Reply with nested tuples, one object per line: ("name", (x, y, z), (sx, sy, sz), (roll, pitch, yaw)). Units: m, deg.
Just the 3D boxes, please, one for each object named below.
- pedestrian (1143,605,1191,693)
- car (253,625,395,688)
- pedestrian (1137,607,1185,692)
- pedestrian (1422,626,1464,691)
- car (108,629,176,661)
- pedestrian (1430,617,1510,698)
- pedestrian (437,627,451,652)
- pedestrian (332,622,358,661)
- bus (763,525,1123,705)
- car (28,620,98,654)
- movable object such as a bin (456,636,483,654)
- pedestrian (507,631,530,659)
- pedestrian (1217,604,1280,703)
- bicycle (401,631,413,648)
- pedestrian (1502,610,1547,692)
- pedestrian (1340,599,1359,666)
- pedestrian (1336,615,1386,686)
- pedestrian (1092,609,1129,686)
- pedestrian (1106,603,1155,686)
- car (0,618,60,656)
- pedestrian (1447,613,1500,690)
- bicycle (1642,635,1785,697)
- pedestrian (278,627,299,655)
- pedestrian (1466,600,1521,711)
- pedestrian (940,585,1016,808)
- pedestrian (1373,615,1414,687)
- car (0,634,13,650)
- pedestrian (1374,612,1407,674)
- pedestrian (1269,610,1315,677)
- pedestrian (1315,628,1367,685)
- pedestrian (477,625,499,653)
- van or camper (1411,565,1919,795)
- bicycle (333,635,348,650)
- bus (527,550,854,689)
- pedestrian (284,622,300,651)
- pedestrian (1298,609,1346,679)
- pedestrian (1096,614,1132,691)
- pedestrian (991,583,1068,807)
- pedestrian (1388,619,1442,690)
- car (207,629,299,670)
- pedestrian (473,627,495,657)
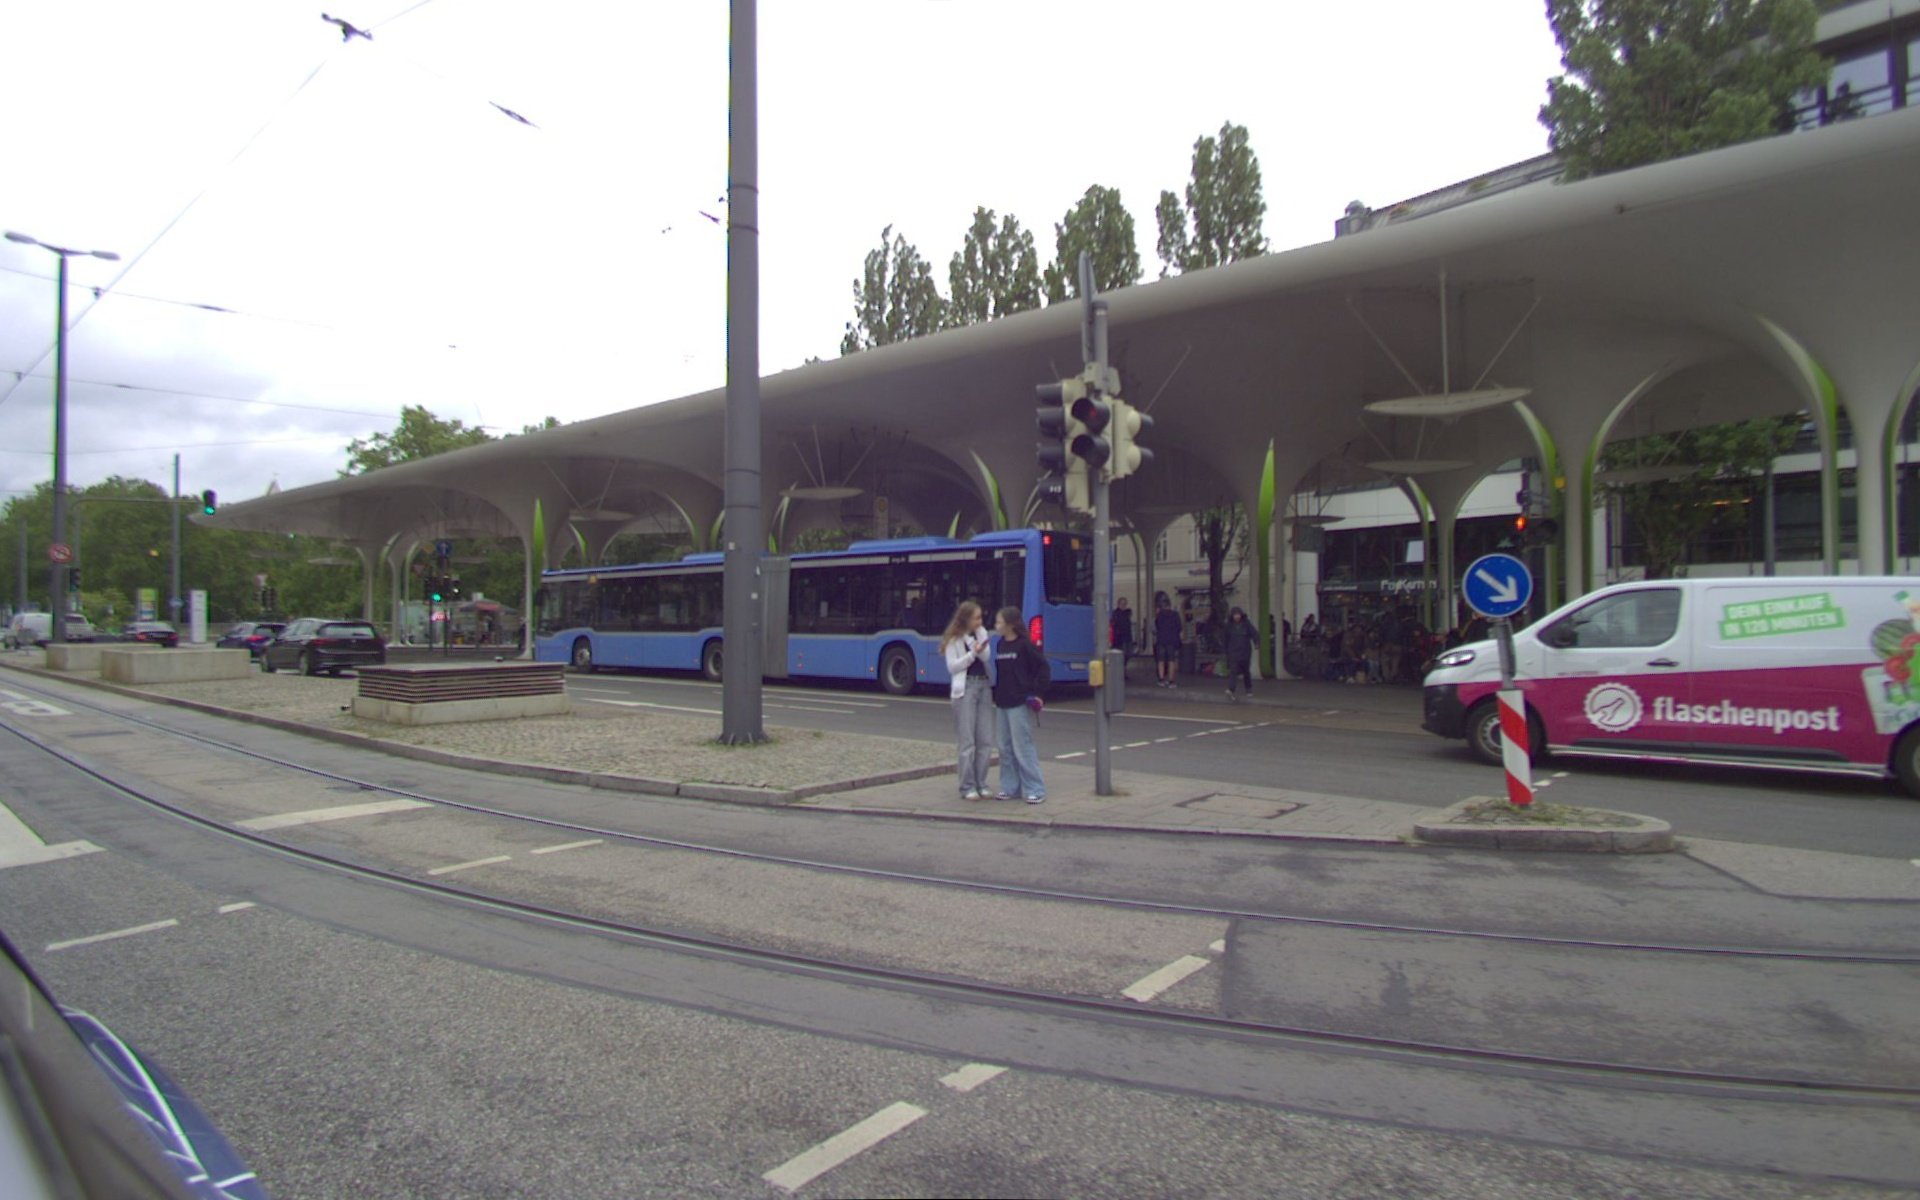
("pedestrian", (4.058, 0.943, 19.837), (0.746, 1.687, 0.624), (-1, -1, 33))
("car", (-15.923, 1.352, 25.277), (4.031, 1.427, 1.824), (-1, -2, 40))
("pedestrian", (4.162, 1.010, 20.984), (0.693, 1.724, 0.759), (0, -2, -13))
("pedestrian", (9.538, 1.148, 20.003), (0.612, 1.245, 0.532), (-2, -2, 41))
("car", (-39.248, 2.123, 48.534), (4.609, 1.389, 1.656), (-1, 0, 40))
("pedestrian", (9.518, 1.059, 18.914), (1.009, 1.464, 0.855), (0, -2, -5))
("pedestrian", (-34.434, 2.639, 67.589), (0.728, 1.612, 0.799), (1, -2, -34))
("pedestrian", (-29.290, 1.982, 48.201), (0.802, 1.853, 0.663), (-1, -1, 11))
("bus", (-0.596, 0.389, 20.562), (7.510, 3.031, 2.632), (-2, -4, 42))
("car", (-52.946, 2.143, 59.708), (6.150, 1.902, 2.154), (-1, -2, 39))
("movable object such as a bin", (-31.104, 2.827, 64.185), (0.957, 1.092, 1.319), (-2, -2, 41))
("pedestrian", (-20.374, 2.057, 46.686), (0.799, 1.239, 1.274), (0, -1, -31))
("pedestrian", (5.070, 0.928, 17.832), (0.830, 1.694, 0.973), (-1, -1, 2))
("bicycle", (-35.789, 2.562, 65.506), (0.472, 1.104, 1.854), (1, -2, -35))
("pedestrian", (11.487, 1.030, 20.598), (0.624, 1.623, 0.589), (-2, -2, 45))
("pedestrian", (11.309, 0.946, 29.418), (0.418, 1.947, 0.481), (-1, -2, 12))
("pedestrian", (9.182, 1.144, 23.178), (0.860, 1.595, 0.551), (0, -1, -7))
("pedestrian", (3.180, 0.989, 21.347), (0.533, 1.584, 0.556), (-2, -2, 41))
("pedestrian", (3.848, 0.996, 22.872), (0.793, 1.831, 0.707), (1, -2, -34))
("car", (-47.700, 1.900, 51.784), (4.213, 1.869, 1.768), (-1, -3, 39))
("pedestrian", (10.668, 1.050, 21.016), (0.798, 1.542, 0.724), (-2, -2, 43))
("bicycle", (14.858, 1.281, 20.022), (0.633, 1.133, 2.169), (1, -2, -40))
("pedestrian", (-39.160, 2.402, 59.049), (0.737, 1.641, 0.734), (-1, -2, 20))
("pedestrian", (8.609, 0.880, 16.340), (0.540, 1.733, 0.616), (1, -2, -42))
("pedestrian", (0.127, 0.713, 7.685), (0.514, 1.631, 0.464), (0, -1, -5))
("pedestrian", (9.683, 1.131, 22.633), (0.655, 1.595, 0.499), (0, -1, -7))
("car", (-98.795, 4.311, 103.913), (3.998, 1.542, 1.868), (-2, -2, 41))
("pedestrian", (11.213, 1.113, 26.390), (0.531, 1.615, 0.621), (0, -1, -4))
("pedestrian", (9.222, 1.195, 28.101), (0.994, 1.835, 0.840), (1, -2, -45))
("pedestrian", (9.169, 1.339, 24.371), (0.867, 1.327, 0.839), (0, -1, -3))
("pedestrian", (-30.341, 2.512, 65.078), (0.957, 1.776, 1.018), (-2, -2, 41))
("van or camper", (7.396, 0.693, 9.563), (5.433, 1.840, 1.909), (-2, -3, 38))
("bicycle", (-38.742, 2.661, 63.276), (0.473, 0.901, 1.852), (1, -2, -41))
("bus", (-7.409, 0.589, 26.428), (10.506, 3.031, 2.633), (-2, -4, 40))
("pedestrian", (-41.168, 2.233, 62.385), (0.725, 1.729, 0.862), (1, -2, -39))
("pedestrian", (9.819, 1.180, 27.455), (0.994, 1.841, 0.840), (1, -2, -45))
("pedestrian", (3.117, 1.044, 20.458), (0.471, 1.516, 0.606), (-2, -2, 39))
("pedestrian", (0.531, 0.700, 7.649), (0.551, 1.631, 0.486), (-1, -1, 7))
("pedestrian", (9.619, 1.142, 21.416), (0.860, 1.469, 0.551), (0, -1, -7))
("car", (-26.026, 1.768, 37.201), (4.228, 1.406, 1.661), (-1, -2, 39))
("pedestrian", (-26.336, 2.315, 56.009), (0.831, 1.622, 0.745), (-1, -1, 13))
